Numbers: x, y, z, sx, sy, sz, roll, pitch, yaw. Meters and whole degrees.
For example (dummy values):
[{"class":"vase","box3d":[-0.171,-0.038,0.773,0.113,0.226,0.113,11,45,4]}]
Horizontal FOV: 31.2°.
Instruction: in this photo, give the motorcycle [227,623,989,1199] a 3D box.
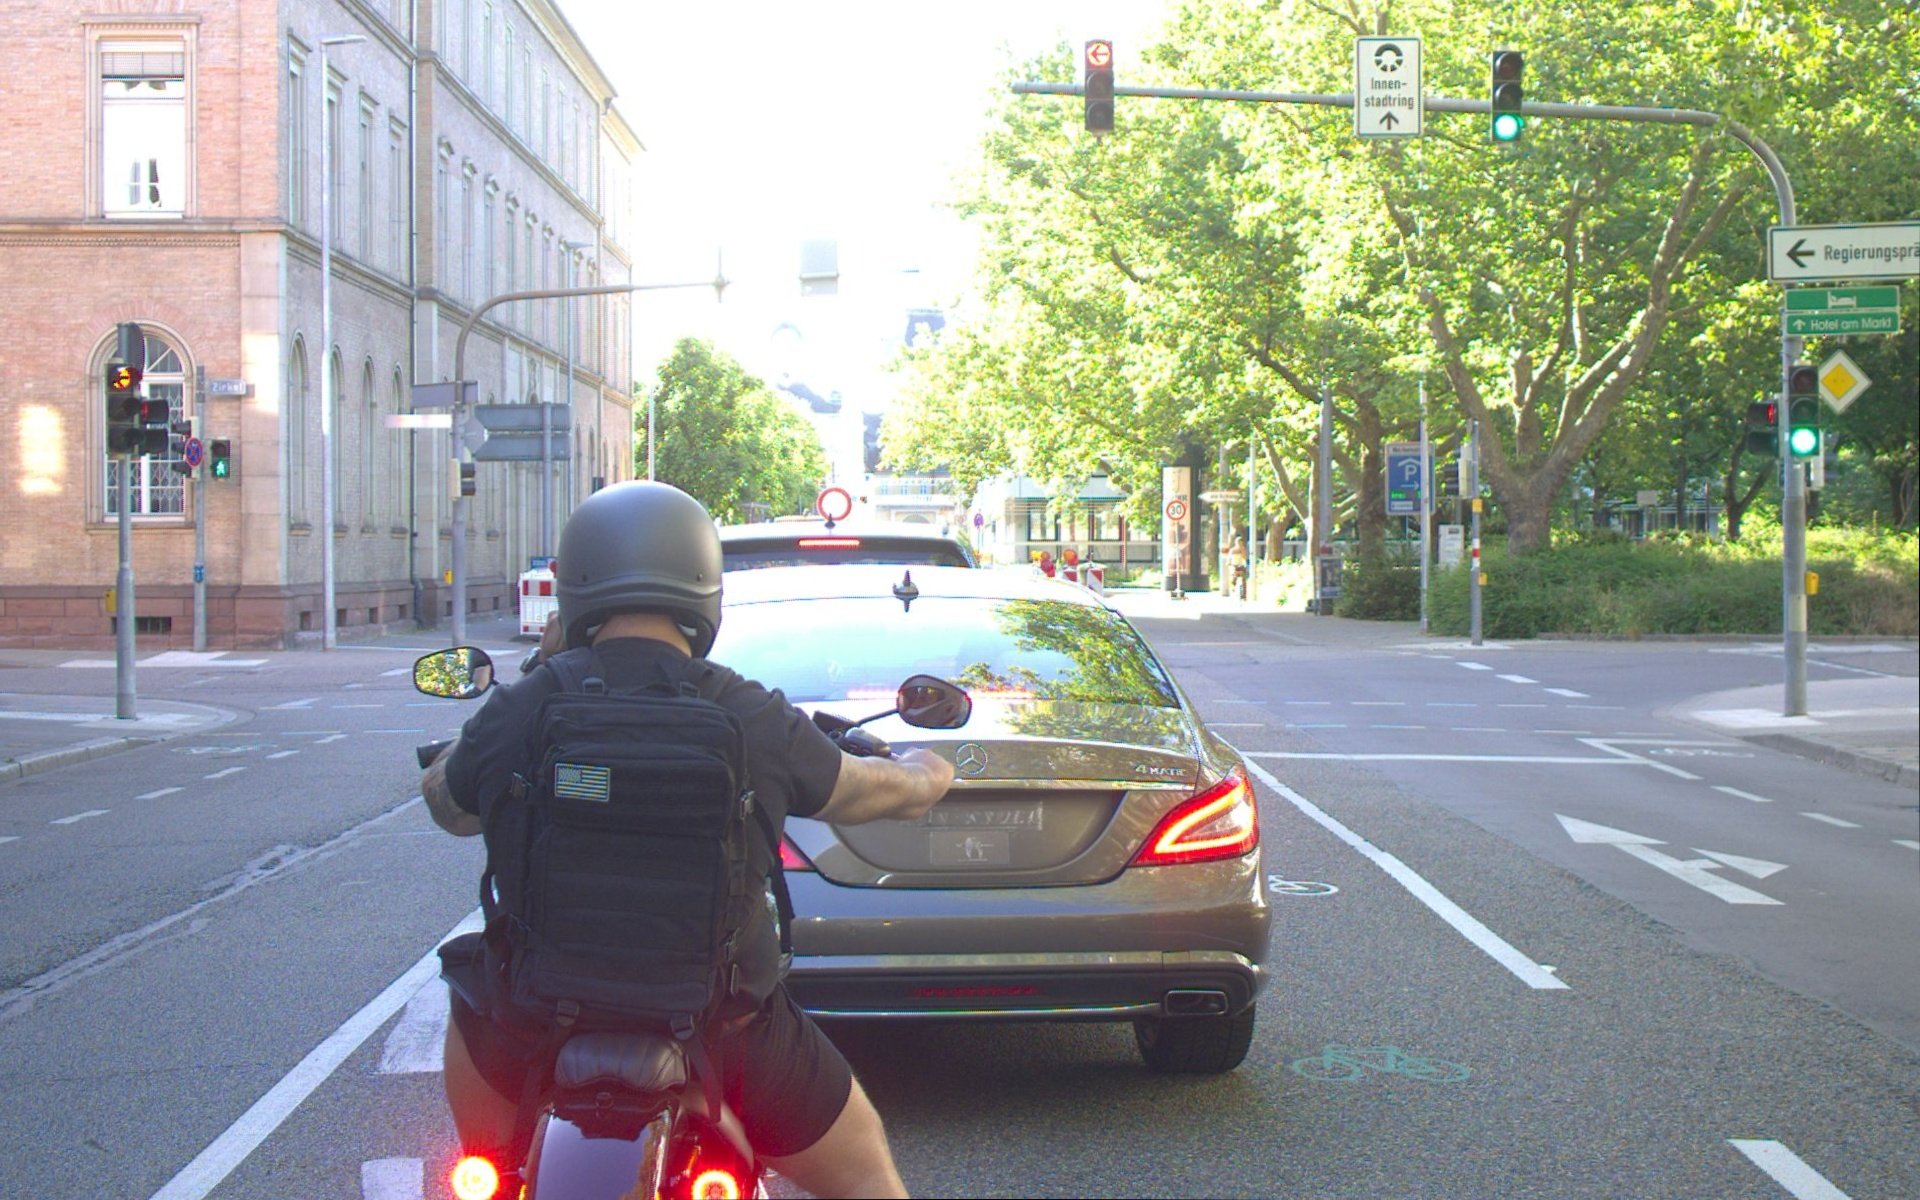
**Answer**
[{"class":"motorcycle","box3d":[-0.466,0.740,5.541,0.962,1.352,2.320,1,1,-1]}]

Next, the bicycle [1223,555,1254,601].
[{"class":"bicycle","box3d":[7.183,-0.580,88.707,0.716,1.168,2.176,1,1,3]}]

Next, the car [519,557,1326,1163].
[{"class":"car","box3d":[-0.346,0.601,10.558,1.901,1.436,4.290,0,1,-9]}]

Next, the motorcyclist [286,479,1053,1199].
[{"class":"motorcyclist","box3d":[-0.416,0.621,5.270,1.061,1.577,0.908,1,0,-1]}]

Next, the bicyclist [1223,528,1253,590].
[{"class":"bicyclist","box3d":[7.177,-1.047,88.706,0.716,1.577,0.936,1,0,3]}]

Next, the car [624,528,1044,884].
[{"class":"car","box3d":[-0.647,0.419,16.772,1.813,1.530,3.849,0,1,-3]}]
